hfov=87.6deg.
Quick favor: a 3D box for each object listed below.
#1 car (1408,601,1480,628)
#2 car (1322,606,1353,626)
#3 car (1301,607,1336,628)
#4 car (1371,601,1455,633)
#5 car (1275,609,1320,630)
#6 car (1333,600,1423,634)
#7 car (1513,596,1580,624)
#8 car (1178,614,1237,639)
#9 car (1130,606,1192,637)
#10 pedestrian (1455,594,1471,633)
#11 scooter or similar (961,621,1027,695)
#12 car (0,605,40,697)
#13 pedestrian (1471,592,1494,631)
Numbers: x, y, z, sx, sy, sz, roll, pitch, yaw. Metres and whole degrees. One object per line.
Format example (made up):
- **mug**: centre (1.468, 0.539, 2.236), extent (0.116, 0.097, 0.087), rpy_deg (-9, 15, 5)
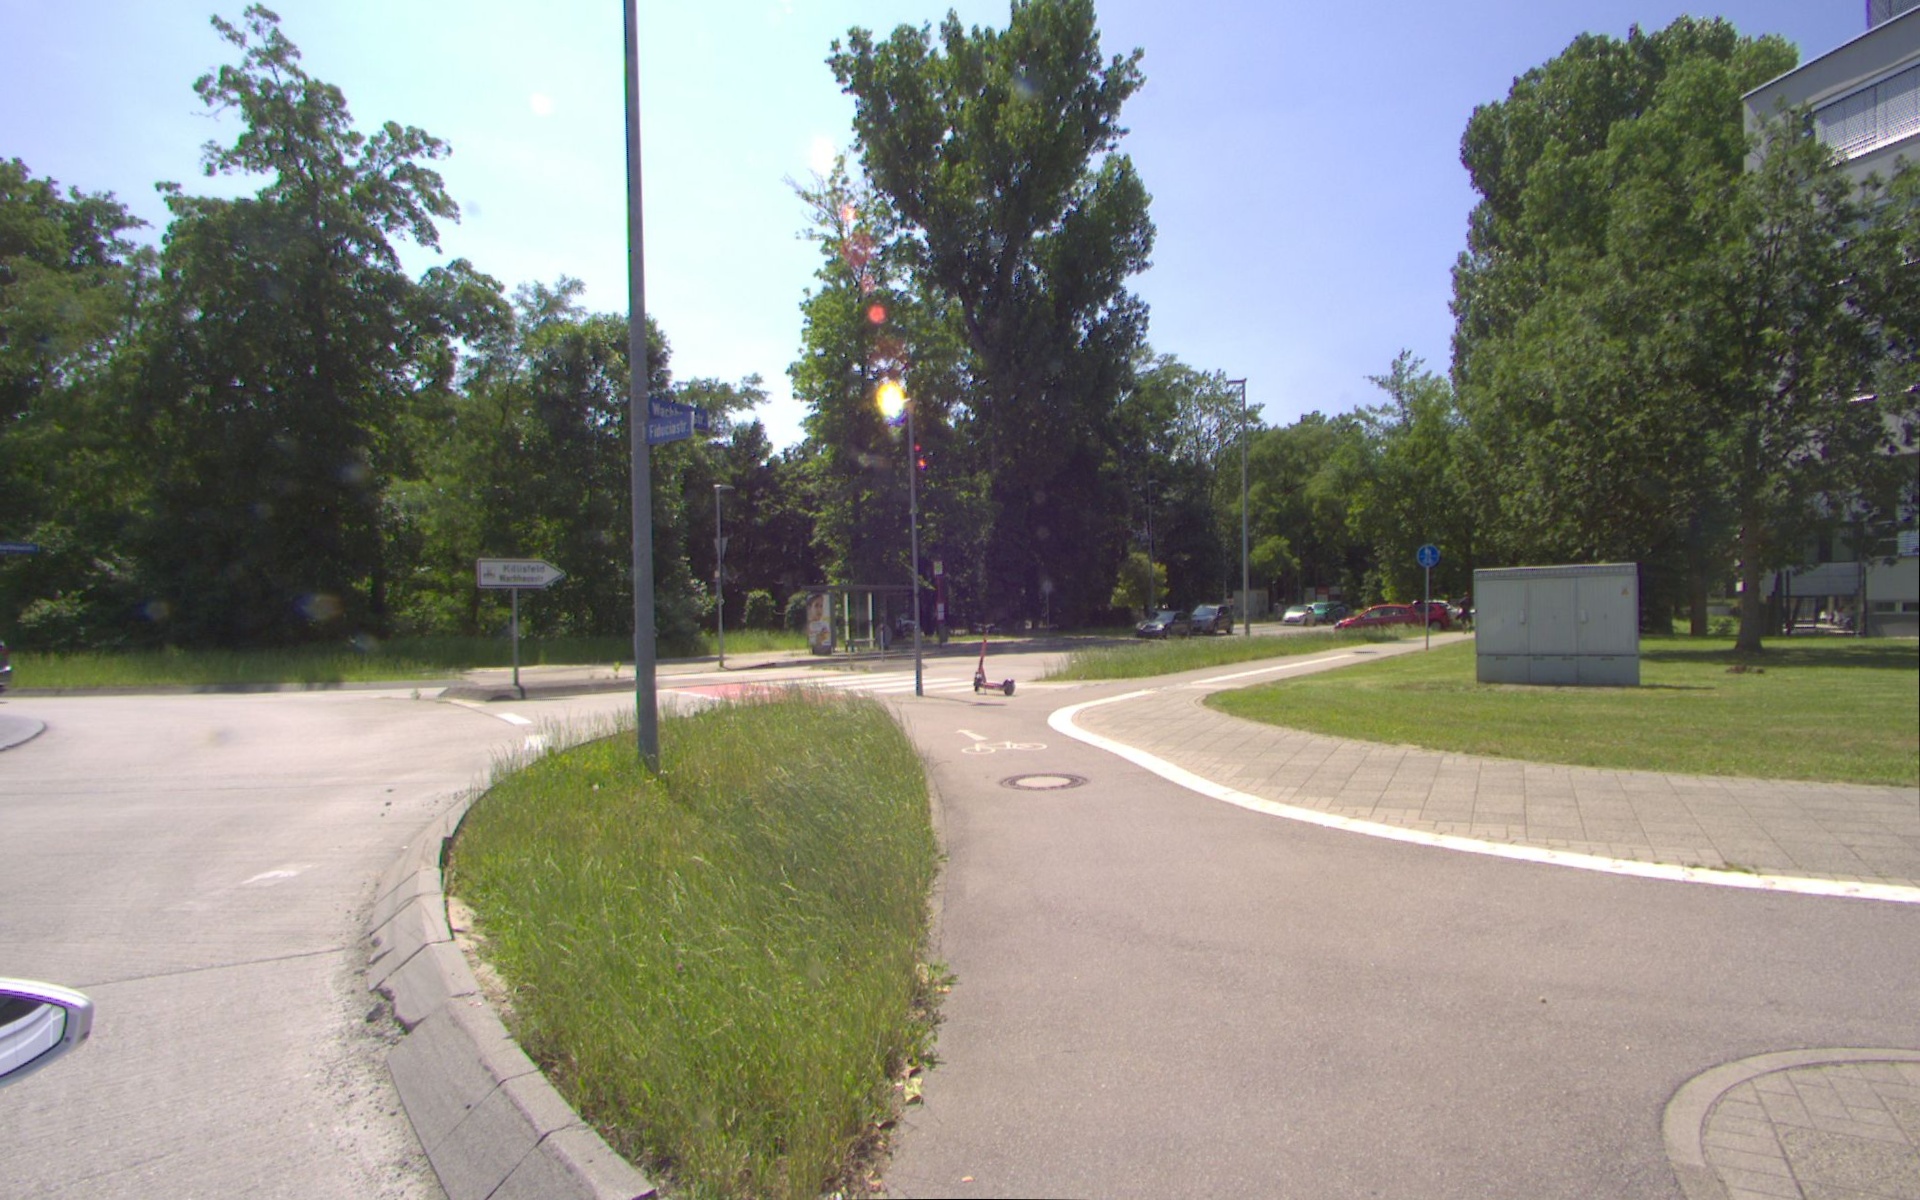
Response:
- **car**: centre (28.380, 0.879, 58.744), extent (3.632, 1.502, 1.860), rpy_deg (-2, -1, 32)
- **car**: centre (30.534, 1.300, 81.020), extent (1.711, 1.513, 3.427), rpy_deg (-1, 0, 32)
- **car**: centre (27.271, 1.342, 76.080), extent (1.713, 1.563, 3.425), rpy_deg (-2, -2, 34)
- **car**: centre (22.816, 0.861, 50.458), extent (3.632, 1.502, 1.860), rpy_deg (-2, -1, 32)
- **car**: centre (24.527, 1.421, 72.690), extent (1.975, 1.488, 3.973), rpy_deg (-2, -2, 37)
- **car**: centre (19.547, 0.811, 46.840), extent (3.632, 1.502, 1.860), rpy_deg (-2, -1, 32)
- **car**: centre (44.476, 0.798, 76.045), extent (1.968, 2.039, 3.987), rpy_deg (0, -1, -24)
- **car**: centre (14.088, 1.484, 56.816), extent (1.973, 1.327, 3.976), rpy_deg (-2, -2, 35)
- **car**: centre (10.440, 1.110, 51.944), extent (1.680, 1.506, 3.976), rpy_deg (2, 0, 35)
- **pedestrian**: centre (21.396, 0.566, 42.626), extent (0.480, 1.637, 0.584), rpy_deg (-1, -1, 39)
- **scooter or similar**: centre (0.568, 0.989, 17.249), extent (0.442, 1.217, 1.391), rpy_deg (0, -1, -31)
- **car**: centre (-19.014, 0.925, 17.417), extent (4.052, 1.627, 1.788), rpy_deg (0, -1, -15)
- **pedestrian**: centre (22.038, 0.491, 42.270), extent (0.564, 1.629, 0.641), rpy_deg (0, -1, -28)
